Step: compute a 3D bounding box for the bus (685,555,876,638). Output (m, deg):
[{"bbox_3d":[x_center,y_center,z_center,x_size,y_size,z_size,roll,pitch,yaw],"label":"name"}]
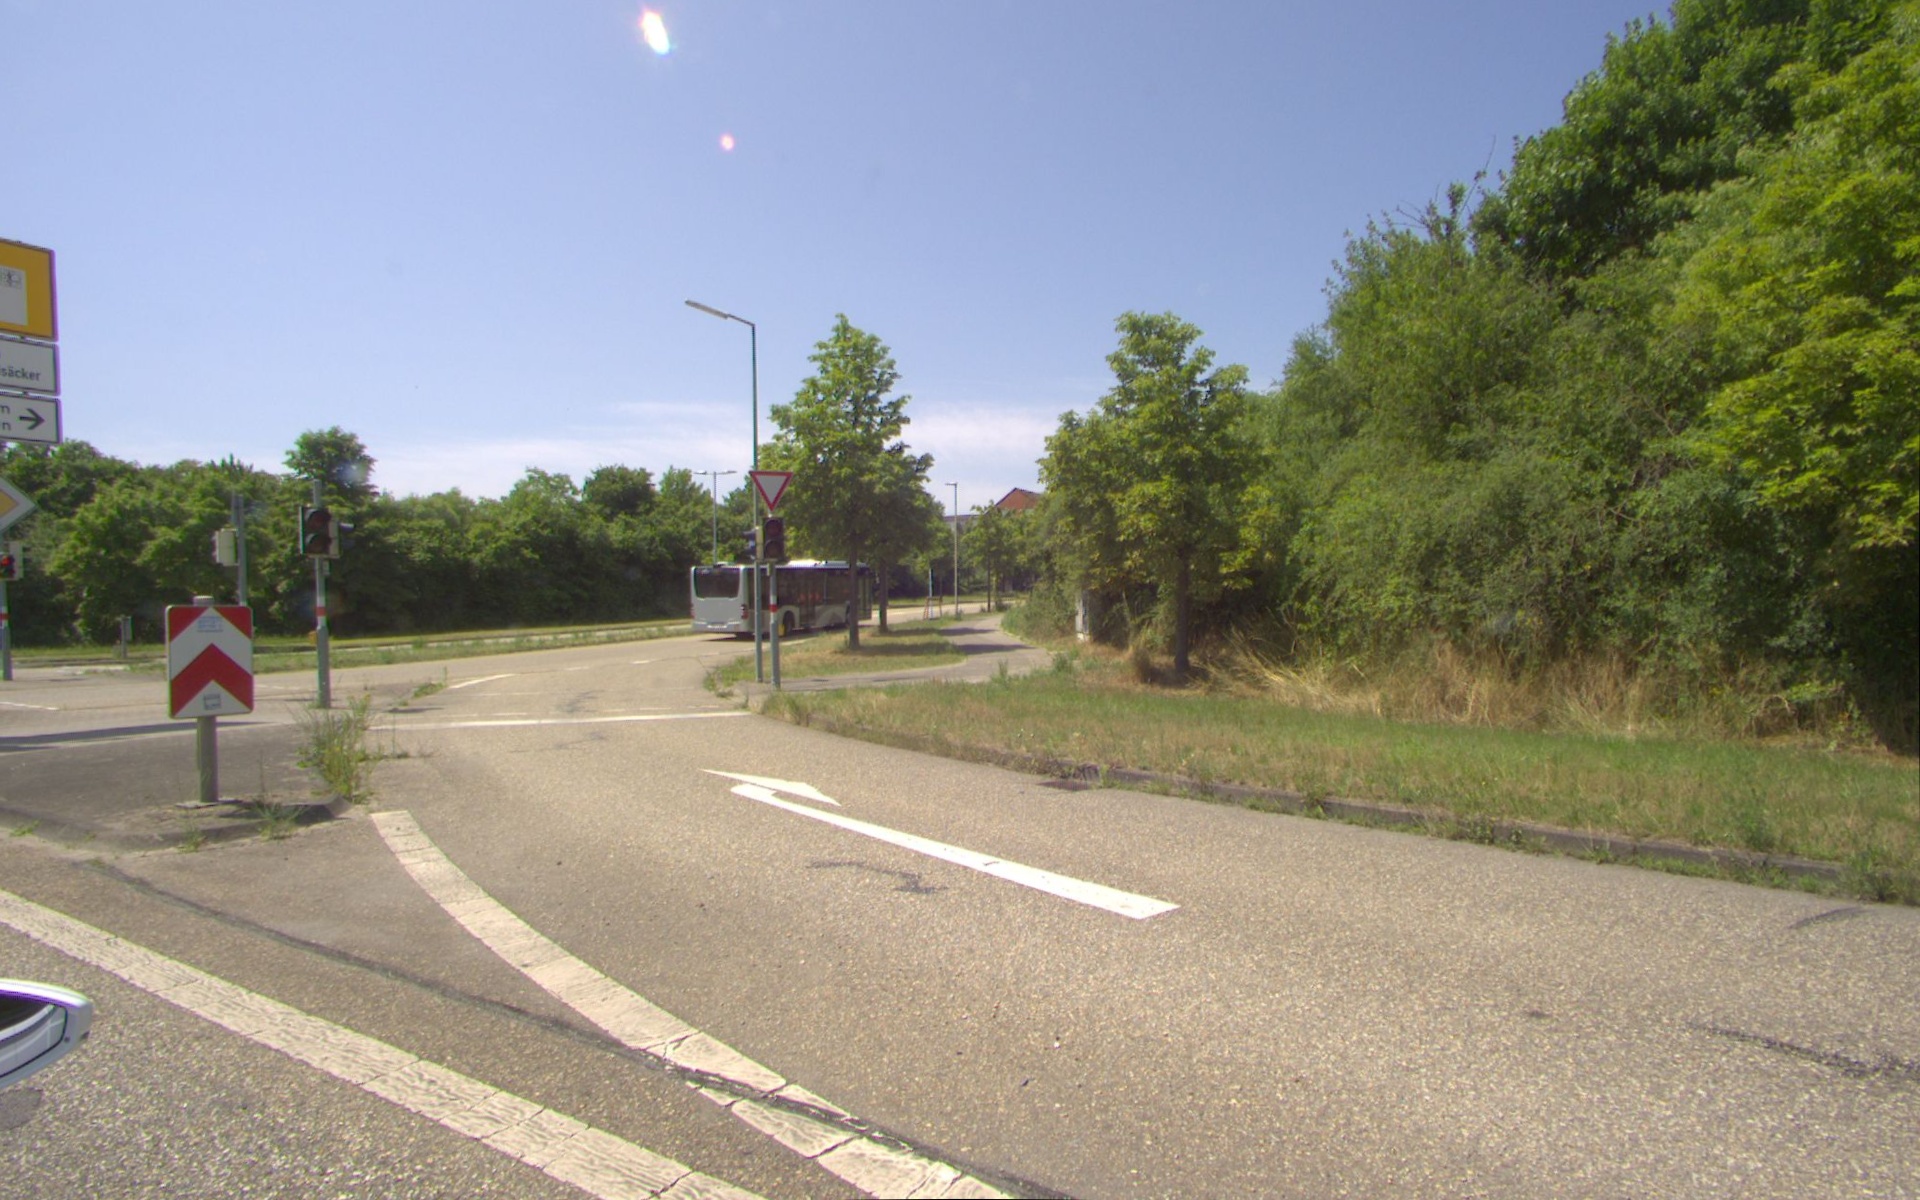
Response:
[{"bbox_3d":[-7.334,-0.116,43.746,2.585,3.127,12.055,0,0,20],"label":"bus"}]
